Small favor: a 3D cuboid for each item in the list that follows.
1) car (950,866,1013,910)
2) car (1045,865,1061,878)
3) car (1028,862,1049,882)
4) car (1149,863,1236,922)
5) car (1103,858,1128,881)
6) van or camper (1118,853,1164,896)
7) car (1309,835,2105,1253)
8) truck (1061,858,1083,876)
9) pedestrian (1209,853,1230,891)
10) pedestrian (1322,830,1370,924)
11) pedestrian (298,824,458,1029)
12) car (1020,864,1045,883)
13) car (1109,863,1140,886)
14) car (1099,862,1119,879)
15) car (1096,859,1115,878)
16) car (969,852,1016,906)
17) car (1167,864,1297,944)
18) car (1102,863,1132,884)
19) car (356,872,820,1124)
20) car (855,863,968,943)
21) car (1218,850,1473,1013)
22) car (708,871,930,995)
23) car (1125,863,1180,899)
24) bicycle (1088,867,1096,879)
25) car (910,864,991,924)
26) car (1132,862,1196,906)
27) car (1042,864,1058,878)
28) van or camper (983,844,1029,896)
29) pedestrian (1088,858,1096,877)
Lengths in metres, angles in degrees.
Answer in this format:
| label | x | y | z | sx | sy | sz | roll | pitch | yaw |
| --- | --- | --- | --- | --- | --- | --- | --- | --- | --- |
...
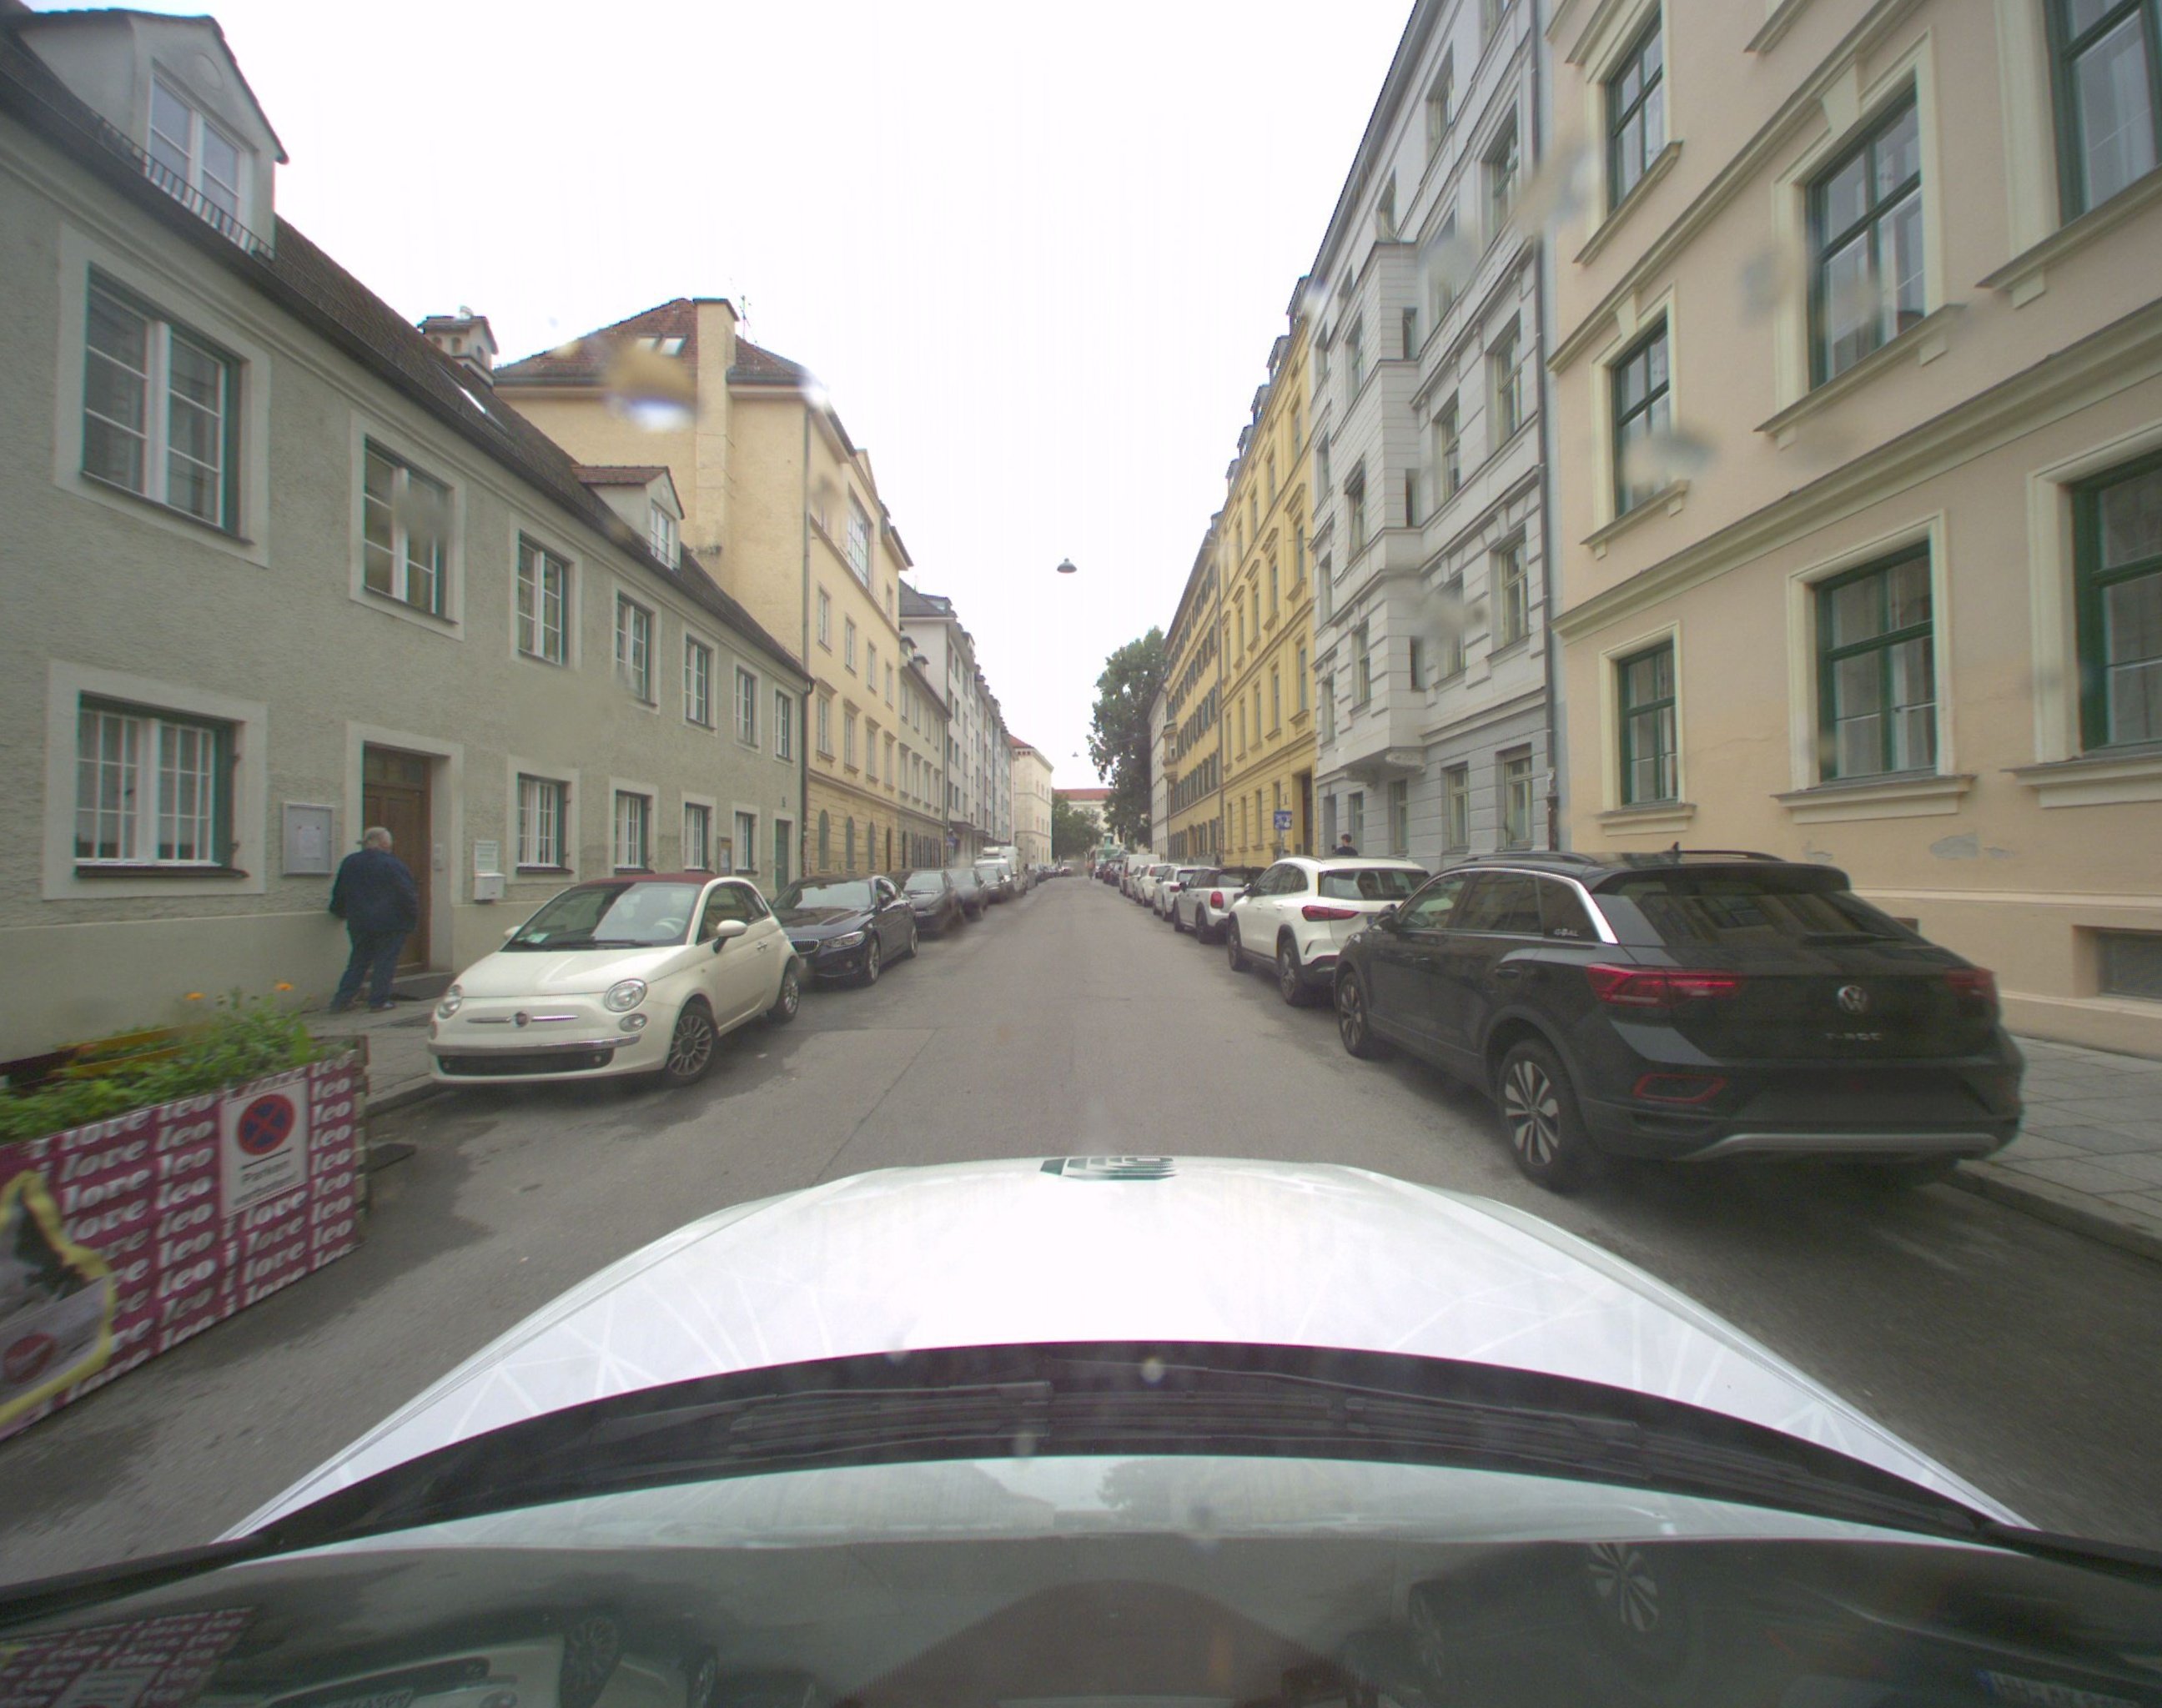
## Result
| label | x | y | z | sx | sy | sz | roll | pitch | yaw |
| --- | --- | --- | --- | --- | --- | --- | --- | --- | --- |
| car | -3.344 | 1.117 | 28.073 | 1.750 | 1.409 | 4.100 | 0 | -1 | -2 |
| car | -3.651 | 2.218 | 106.100 | 1.700 | 1.581 | 3.865 | -2 | -1 | 2 |
| car | -3.801 | 1.601 | 72.663 | 1.702 | 1.609 | 3.860 | -2 | -1 | -1 |
| car | 2.925 | 0.974 | 22.242 | 1.702 | 1.408 | 4.813 | -1 | -1 | 0 |
| car | 2.758 | 1.276 | 65.607 | 1.806 | 1.797 | 4.246 | 0 | -1 | 0 |
| van or camper | 2.793 | 0.946 | 38.803 | 1.828 | 1.872 | 5.077 | -1 | -1 | 0 |
| car | 2.917 | 0.728 | 5.157 | 1.749 | 1.521 | 4.273 | -1 | -1 | 0 |
| truck | -1.159 | 1.761 | 108.300 | 2.109 | 2.247 | 6.197 | -1 | -2 | 7 |
| pedestrian | 5.922 | 0.768 | 34.892 | 0.658 | 1.571 | 0.642 | -4 | -2 | -1 |
| pedestrian | 5.779 | 0.496 | 17.818 | 0.667 | 1.980 | 0.708 | -4 | -2 | 0 |
| pedestrian | -6.880 | 0.686 | 8.022 | 0.820 | 1.898 | 0.827 | -1 | -2 | -2 |
| car | -3.970 | 1.573 | 66.933 | 1.812 | 1.444 | 3.816 | -2 | -1 | -1 |
| car | 2.815 | 1.349 | 53.700 | 1.806 | 1.465 | 4.245 | 0 | -1 | -1 |
| car | 2.683 | 1.585 | 79.511 | 1.806 | 1.614 | 4.155 | -1 | -1 | 0 |
| car | 2.506 | 1.555 | 85.385 | 1.846 | 1.920 | 4.768 | -1 | -1 | 0 |
| car | -3.535 | 0.980 | 33.163 | 1.751 | 1.995 | 4.618 | 0 | -1 | -4 |
| car | 2.919 | 0.923 | 16.646 | 1.704 | 1.404 | 4.203 | 0 | -1 | -3 |
| car | 2.565 | 1.381 | 58.601 | 1.807 | 1.425 | 4.243 | 0 | -1 | -2 |
| car | -3.577 | 0.902 | 6.811 | 1.751 | 1.475 | 3.709 | 0 | -1 | -3 |
| car | -3.501 | 0.954 | 17.561 | 1.751 | 1.496 | 4.195 | 0 | -1 | -3 |
| car | 2.967 | 0.793 | 10.220 | 1.737 | 1.583 | 4.465 | -1 | -1 | 0 |
| car | -3.505 | 0.972 | 11.897 | 1.793 | 1.339 | 4.682 | 0 | 0 | -1 |
| car | 2.873 | 1.071 | 33.447 | 1.704 | 1.392 | 4.202 | 0 | -1 | -2 |
| bicycle | 1.031 | 1.755 | 75.023 | 0.673 | 1.095 | 1.760 | -1 | -2 | 0 |
| car | -3.544 | 1.044 | 22.799 | 1.813 | 1.441 | 4.125 | -2 | 0 | -4 |
| car | 2.872 | 1.024 | 28.899 | 1.704 | 1.454 | 4.092 | 0 | -1 | -2 |
| car | -3.778 | 2.072 | 99.878 | 1.700 | 1.609 | 3.864 | -2 | -1 | 2 |
| van or camper | -3.470 | 0.728 | 38.313 | 1.750 | 2.281 | 5.270 | 0 | -1 | -1 |
| pedestrian | 1.013 | 1.263 | 75.082 | 0.640 | 1.714 | 0.842 | -1 | -2 | 0 |
